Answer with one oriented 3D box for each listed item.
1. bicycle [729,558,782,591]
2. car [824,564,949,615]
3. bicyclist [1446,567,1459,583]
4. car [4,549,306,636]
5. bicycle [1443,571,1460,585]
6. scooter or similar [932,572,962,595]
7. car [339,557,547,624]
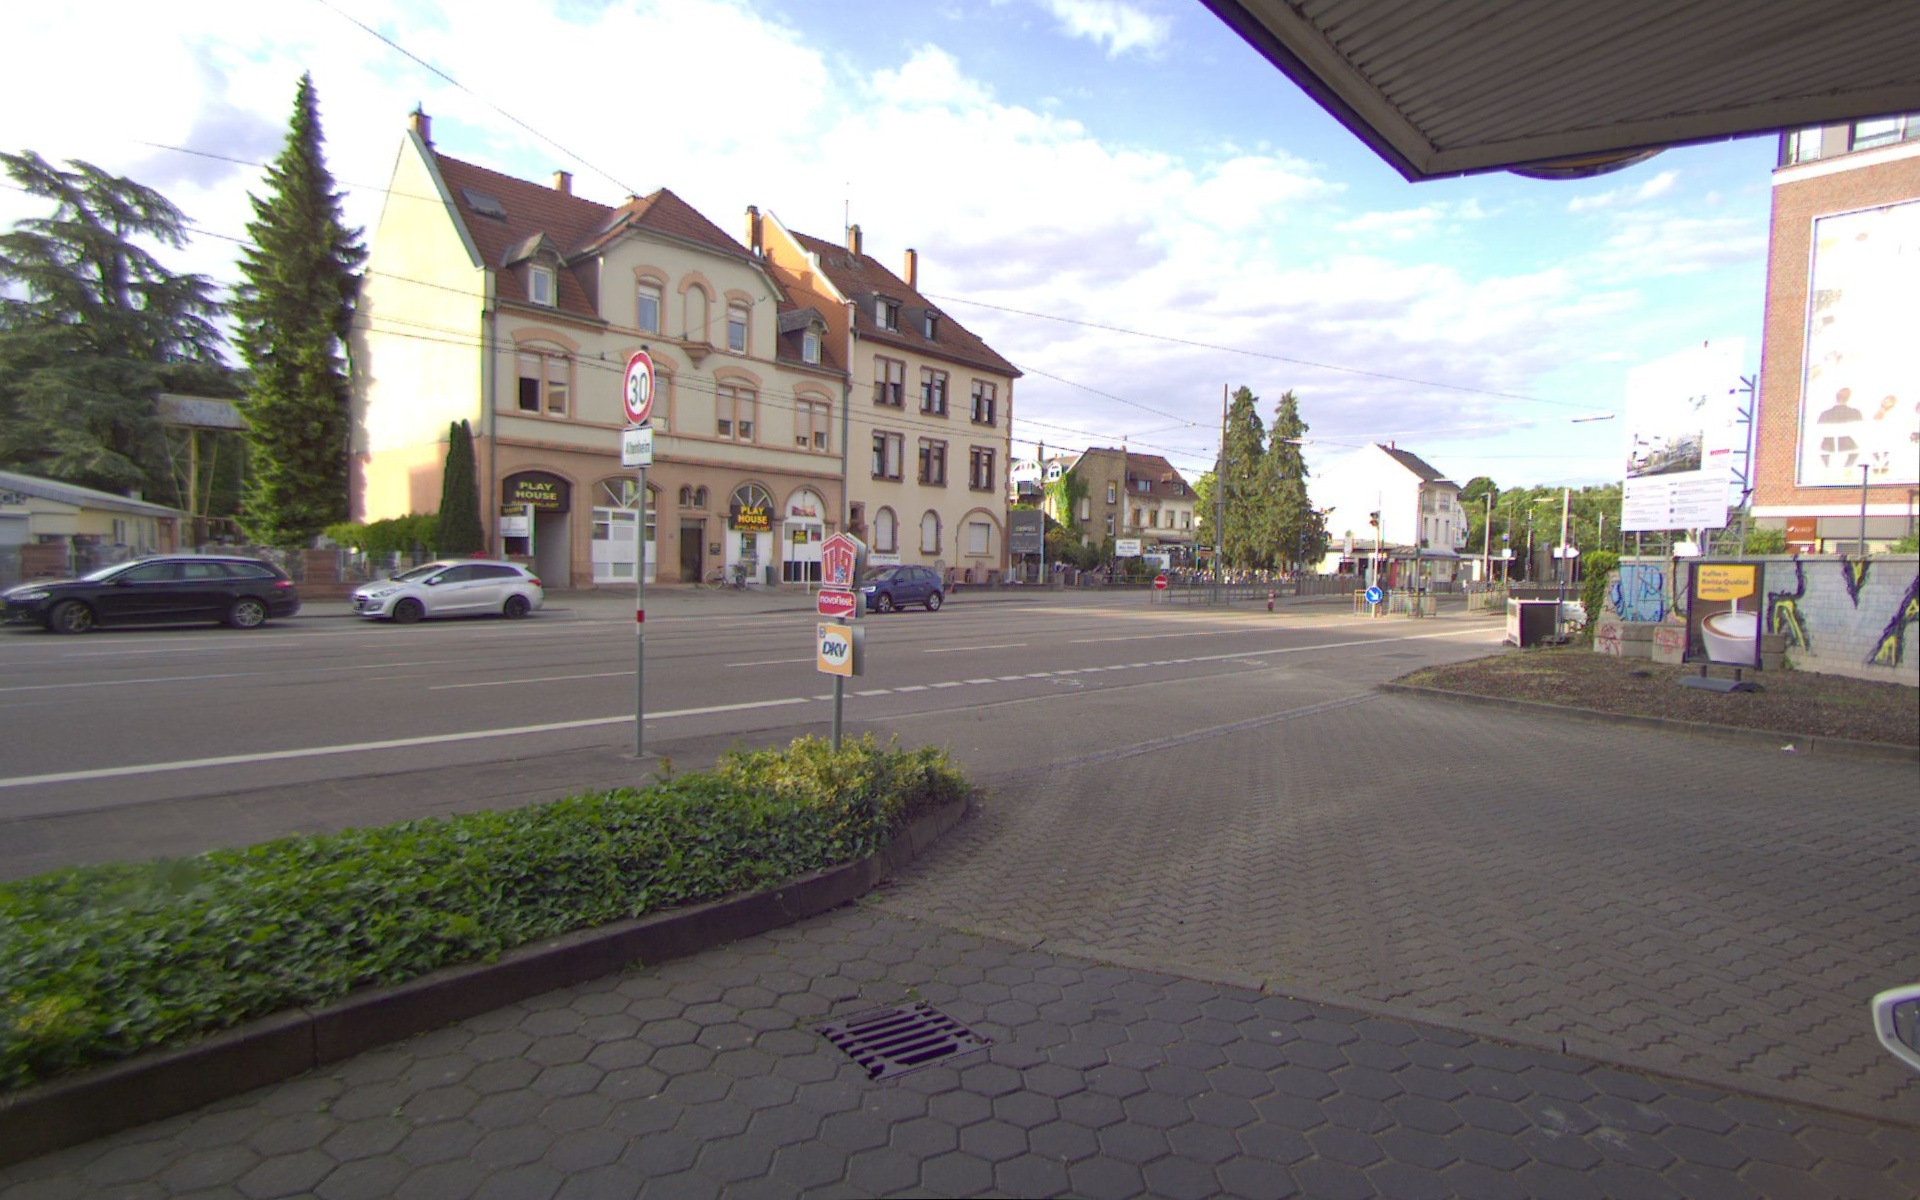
[{"bbox_3d":[-8.260,-1.011,40.617,0.741,1.219,2.011,8,5,41],"label":"bicycle"},{"bbox_3d":[-2.327,-0.366,32.559,1.833,1.489,4.124,3,3,35],"label":"car"},{"bbox_3d":[46.314,-2.342,94.455,0.915,1.428,0.742,-1,8,-44],"label":"bicyclist"},{"bbox_3d":[-16.498,-0.178,20.807,1.827,1.542,4.642,5,4,40],"label":"car"},{"bbox_3d":[46.253,-2.045,94.440,1.809,1.219,0.742,-1,9,-45],"label":"bicycle"},{"bbox_3d":[-0.579,-0.726,45.083,0.437,1.006,1.460,6,5,41],"label":"scooter or similar"},{"bbox_3d":[-12.940,-0.255,25.346,1.718,1.502,4.357,3,2,41],"label":"car"}]
